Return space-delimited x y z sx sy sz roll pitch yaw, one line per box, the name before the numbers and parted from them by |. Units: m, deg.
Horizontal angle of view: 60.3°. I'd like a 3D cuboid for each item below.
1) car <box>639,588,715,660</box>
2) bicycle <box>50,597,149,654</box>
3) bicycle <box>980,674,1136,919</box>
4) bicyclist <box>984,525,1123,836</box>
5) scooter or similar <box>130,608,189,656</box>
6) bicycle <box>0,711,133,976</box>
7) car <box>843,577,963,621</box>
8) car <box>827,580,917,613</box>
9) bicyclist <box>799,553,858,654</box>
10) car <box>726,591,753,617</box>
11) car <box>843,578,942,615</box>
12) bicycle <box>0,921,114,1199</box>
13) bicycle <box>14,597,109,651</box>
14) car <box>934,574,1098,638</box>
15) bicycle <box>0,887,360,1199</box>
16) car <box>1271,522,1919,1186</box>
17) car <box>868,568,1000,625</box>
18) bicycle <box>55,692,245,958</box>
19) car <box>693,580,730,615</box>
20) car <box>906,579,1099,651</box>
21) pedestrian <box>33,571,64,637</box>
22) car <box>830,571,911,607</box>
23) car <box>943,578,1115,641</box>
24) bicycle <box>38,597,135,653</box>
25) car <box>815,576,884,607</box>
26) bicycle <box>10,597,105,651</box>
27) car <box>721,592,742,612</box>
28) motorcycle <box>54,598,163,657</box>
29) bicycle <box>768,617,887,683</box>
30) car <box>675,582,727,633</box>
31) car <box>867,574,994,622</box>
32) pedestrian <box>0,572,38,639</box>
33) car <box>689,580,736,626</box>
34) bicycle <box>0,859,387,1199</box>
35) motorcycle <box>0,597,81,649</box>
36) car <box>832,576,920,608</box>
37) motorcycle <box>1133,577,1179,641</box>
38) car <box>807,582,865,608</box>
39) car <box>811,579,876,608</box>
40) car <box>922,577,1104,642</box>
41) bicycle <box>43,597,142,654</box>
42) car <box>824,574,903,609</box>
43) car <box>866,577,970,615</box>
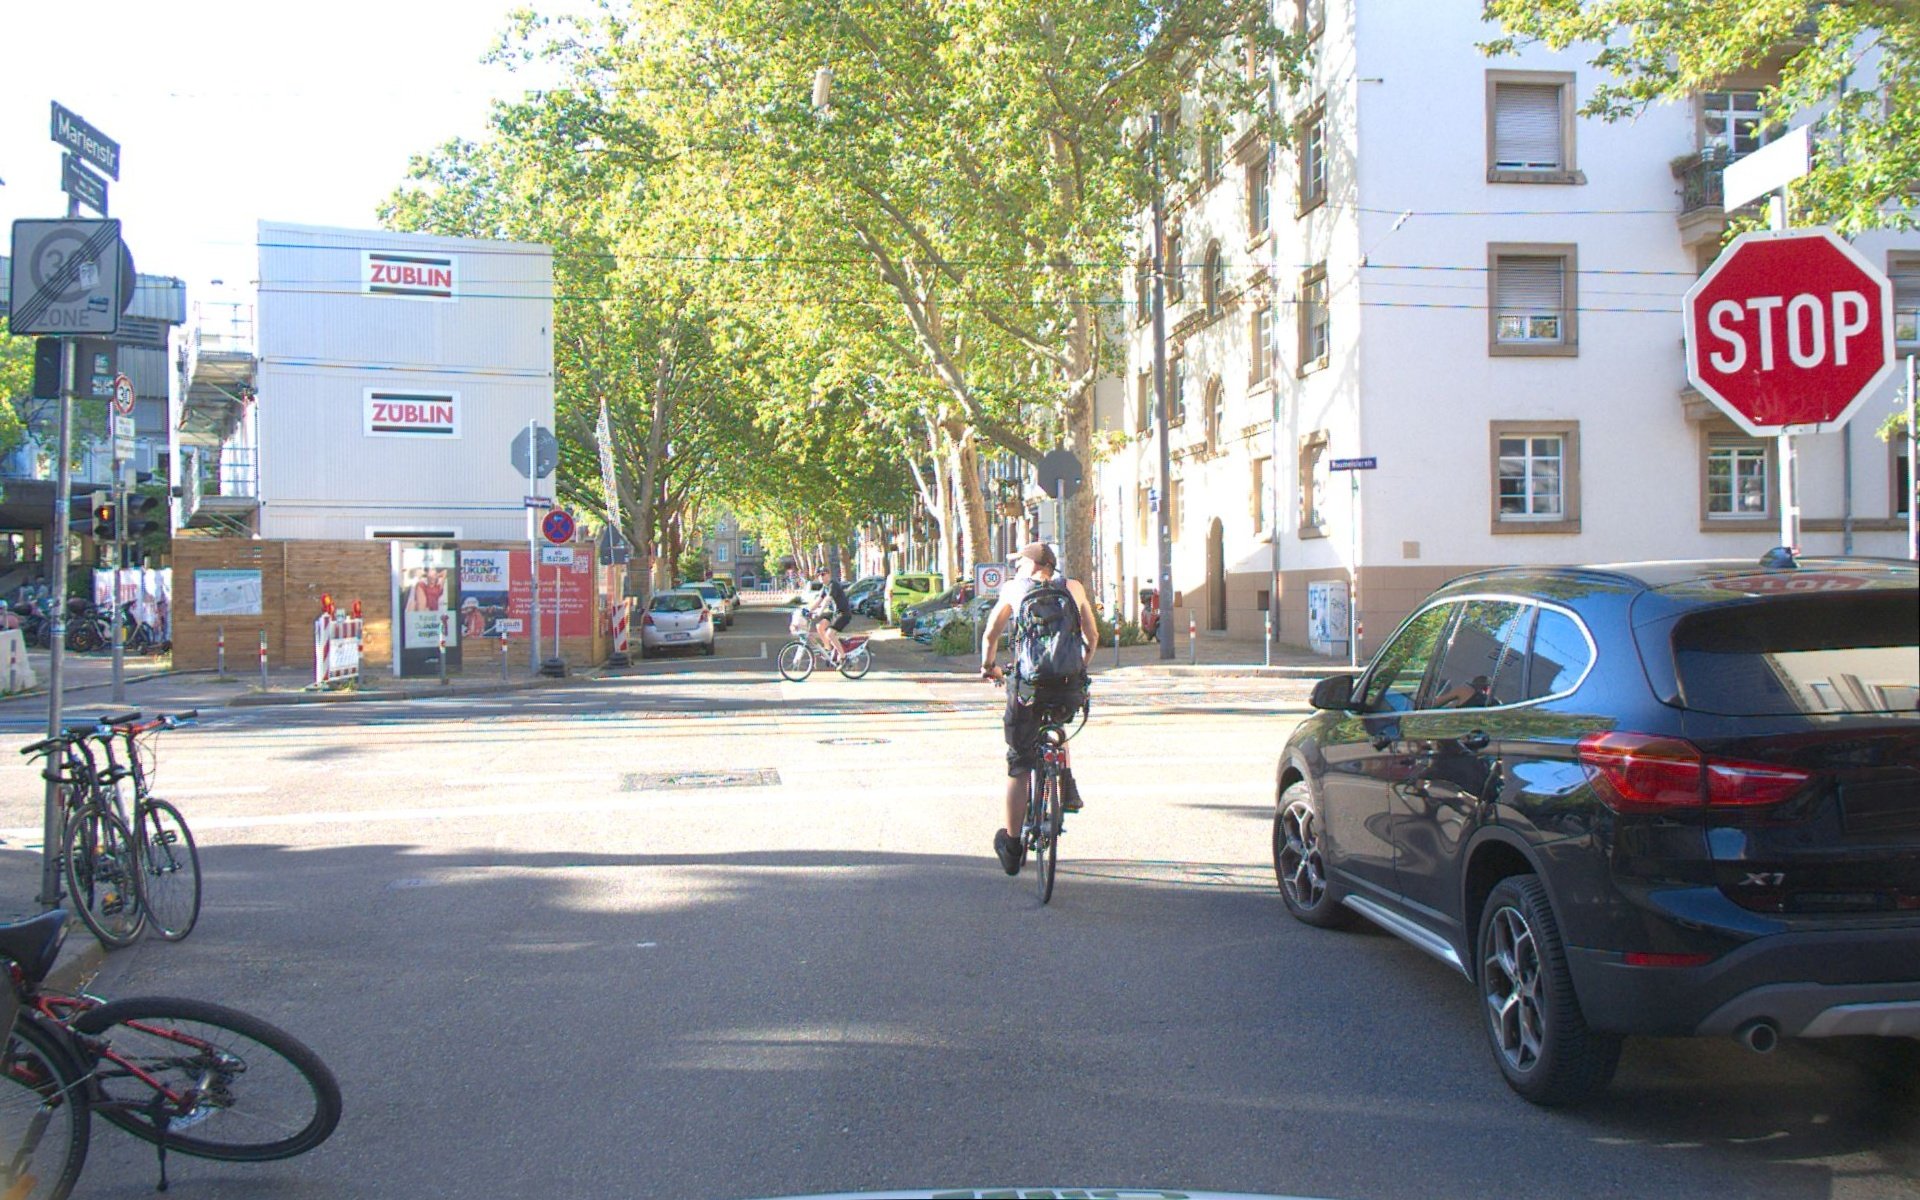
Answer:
car | -6.688 0.516 39.275 1.613 1.520 3.992 -3 1 -9
bicycle | -20.418 0.591 39.275 0.463 1.279 2.036 0 2 44
bicycle | 0.465 0.954 8.621 0.675 1.034 1.907 1 0 0
bicyclist | 0.472 0.398 8.569 0.662 1.539 0.669 1 0 -1
scooter or similar | -18.316 0.718 37.865 0.376 1.038 1.489 0 1 11
bicycle | -4.510 1.122 8.043 0.447 1.064 1.639 -3 1 -41
car | -2.195 -0.045 63.205 4.379 1.598 1.725 -1 1 -9
car | -4.435 -0.182 82.897 4.379 1.598 1.725 -1 1 -9
bicyclist | -2.237 0.050 28.077 0.799 1.687 0.677 -1 0 -26
car | -14.292 0.228 107.153 1.634 1.590 4.210 -1 1 -9
car | -3.111 -0.167 75.780 4.379 1.598 1.725 -1 1 -9
bicycle | -2.611 1.199 3.530 1.362 0.832 0.361 -3 1 -11
bicycle | -22.587 0.597 41.615 0.534 1.279 2.036 0 2 44
car | 1.562 0.154 46.575 4.379 1.700 1.725 -1 1 -9
bicycle | -2.160 1.174 3.986 1.285 0.832 0.354 -1 0 -11
car | 2.532 0.639 6.350 1.725 1.691 4.195 1 0 -2
car | -0.924 -0.136 57.377 4.379 1.868 1.725 -1 1 -9
bicycle | -4.108 1.073 8.332 0.454 1.064 1.663 -1 3 -41
car | -11.649 -0.129 77.480 1.634 1.590 4.606 -1 1 -9
car | 0.977 0.335 39.528 4.379 1.598 1.725 -1 1 -9
pedestrian | -28.833 0.123 52.328 0.792 2.049 1.020 -1 1 -31
car | -5.028 -0.641 92.529 4.379 1.931 1.725 -1 1 -9
car | 1.835 0.236 44.509 4.379 1.598 1.725 -1 1 -9
bicycle | -21.091 0.593 39.970 0.463 1.279 2.036 0 2 44
car | -7.236 -0.548 107.928 4.379 1.931 1.725 -1 1 -9
bicycle | -22.951 0.599 42.077 0.534 1.279 2.036 0 2 44
car | -19.041 0.132 137.569 1.634 1.590 4.210 -1 1 -9
motorcycle | -19.760 0.616 38.412 0.534 1.279 2.196 0 2 44
bicycle | -2.244 0.836 28.073 1.891 1.036 0.677 -1 1 -26
car | -8.662 0.218 55.261 1.634 1.590 3.992 -1 1 -9
car | -1.088 -0.085 59.386 4.379 1.598 1.725 -1 1 -9
pedestrian | -29.185 0.168 51.111 0.784 2.049 0.939 -1 1 3
car | -9.142 0.088 60.951 1.634 1.590 4.509 -1 1 -9
bicycle | -2.220 1.159 4.354 1.285 0.832 0.370 -1 0 -11
motorcycle | -23.964 0.582 42.655 0.534 1.279 2.196 0 2 44
car | -4.360 -0.424 85.244 4.379 1.598 1.725 -1 1 -9
motorcycle | 4.223 0.174 35.786 0.504 1.356 1.759 -1 1 -9
car | -9.539 -0.405 127.178 4.379 1.931 1.725 -1 1 -9
car | -8.129 -0.477 115.297 4.379 1.931 1.725 -1 1 -9
car | 1.319 0.224 42.050 4.379 1.526 1.725 -1 1 -9
bicycle | -20.760 0.593 39.600 0.463 1.279 2.036 0 2 44
car | -5.551 -0.486 95.247 4.379 1.931 1.725 -1 1 -9
car | -1.862 -0.180 72.724 4.379 1.598 1.725 -1 1 -9
